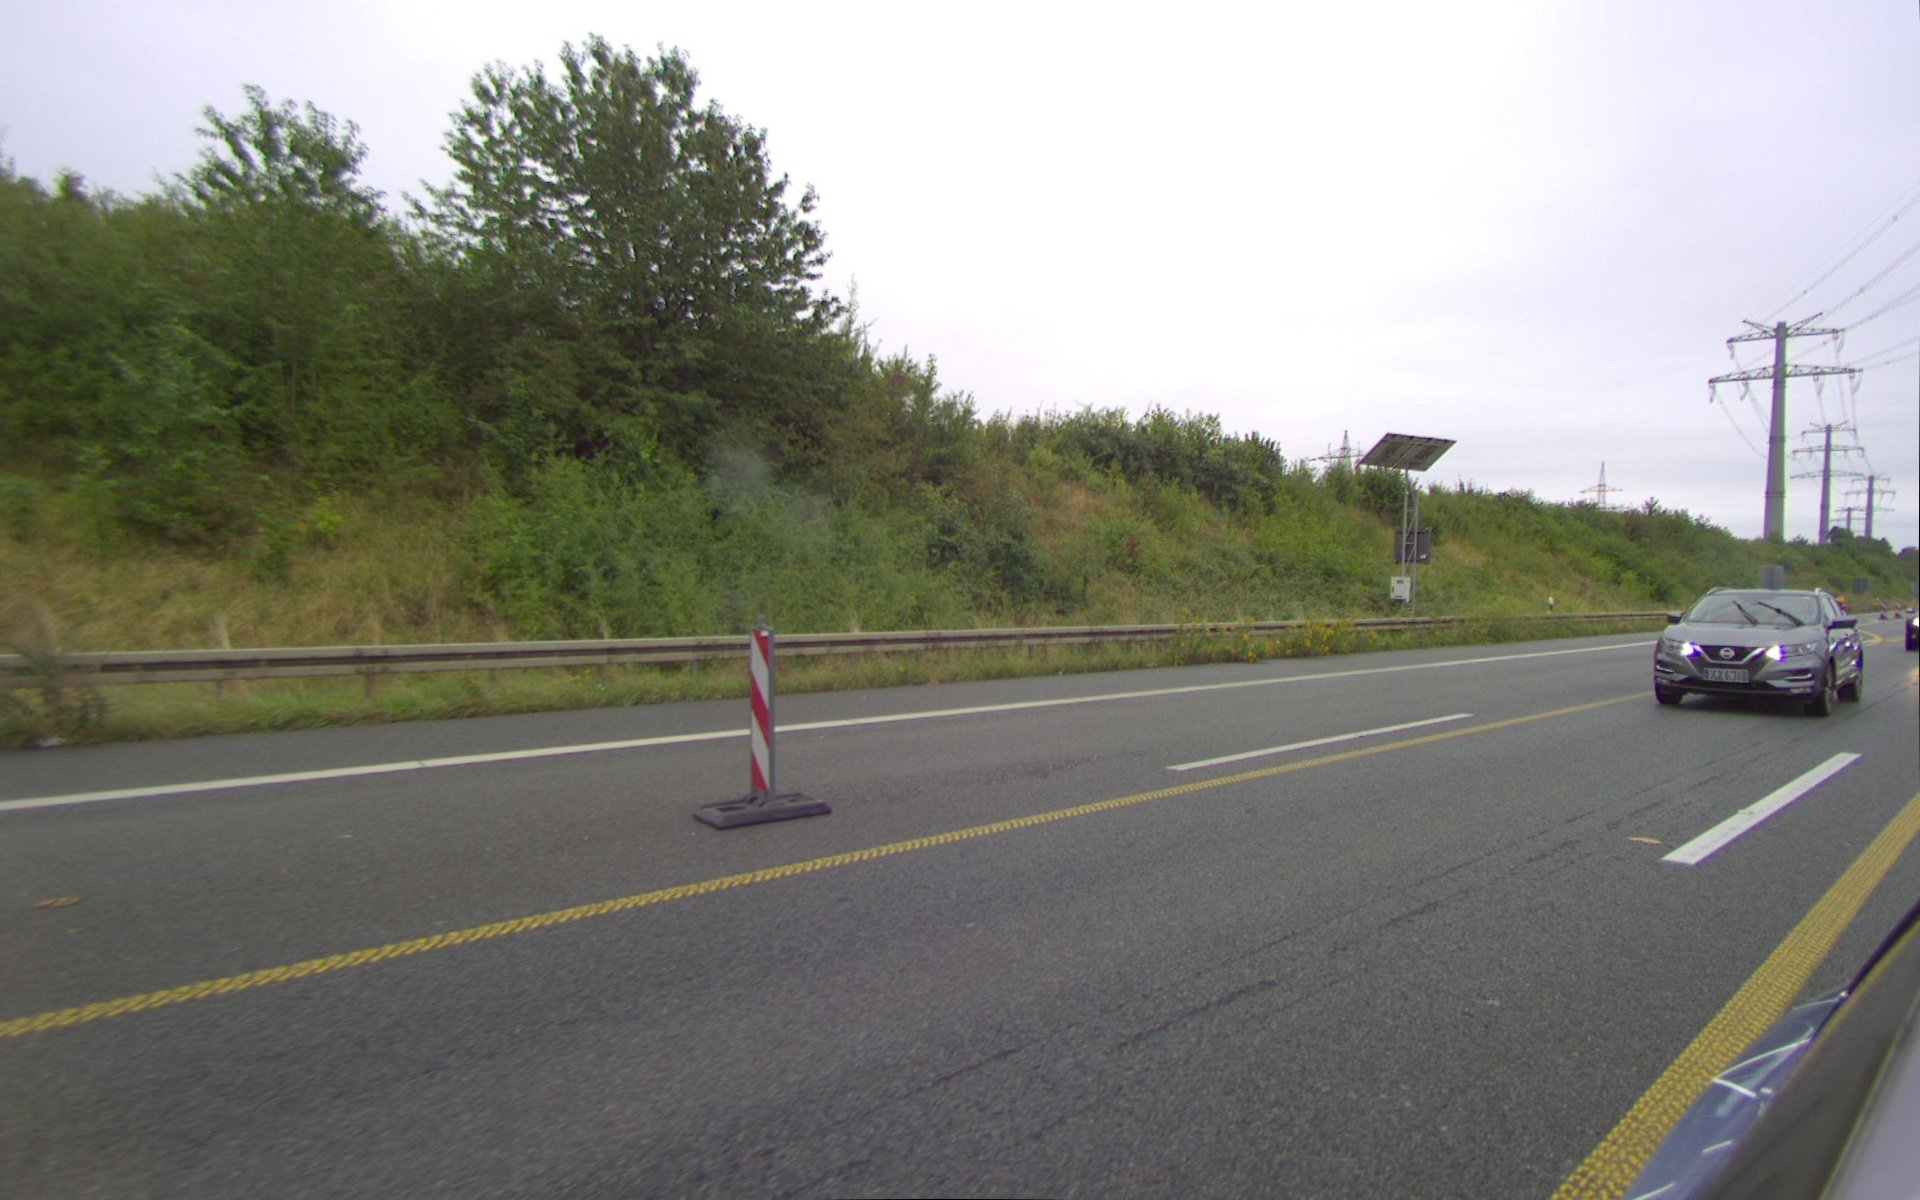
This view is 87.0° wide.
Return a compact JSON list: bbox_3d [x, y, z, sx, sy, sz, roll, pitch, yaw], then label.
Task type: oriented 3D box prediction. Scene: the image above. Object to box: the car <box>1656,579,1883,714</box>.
[{"bbox_3d":[11.073,0.516,13.738,4.079,1.552,1.802,0,1,-43],"label":"car"}]
